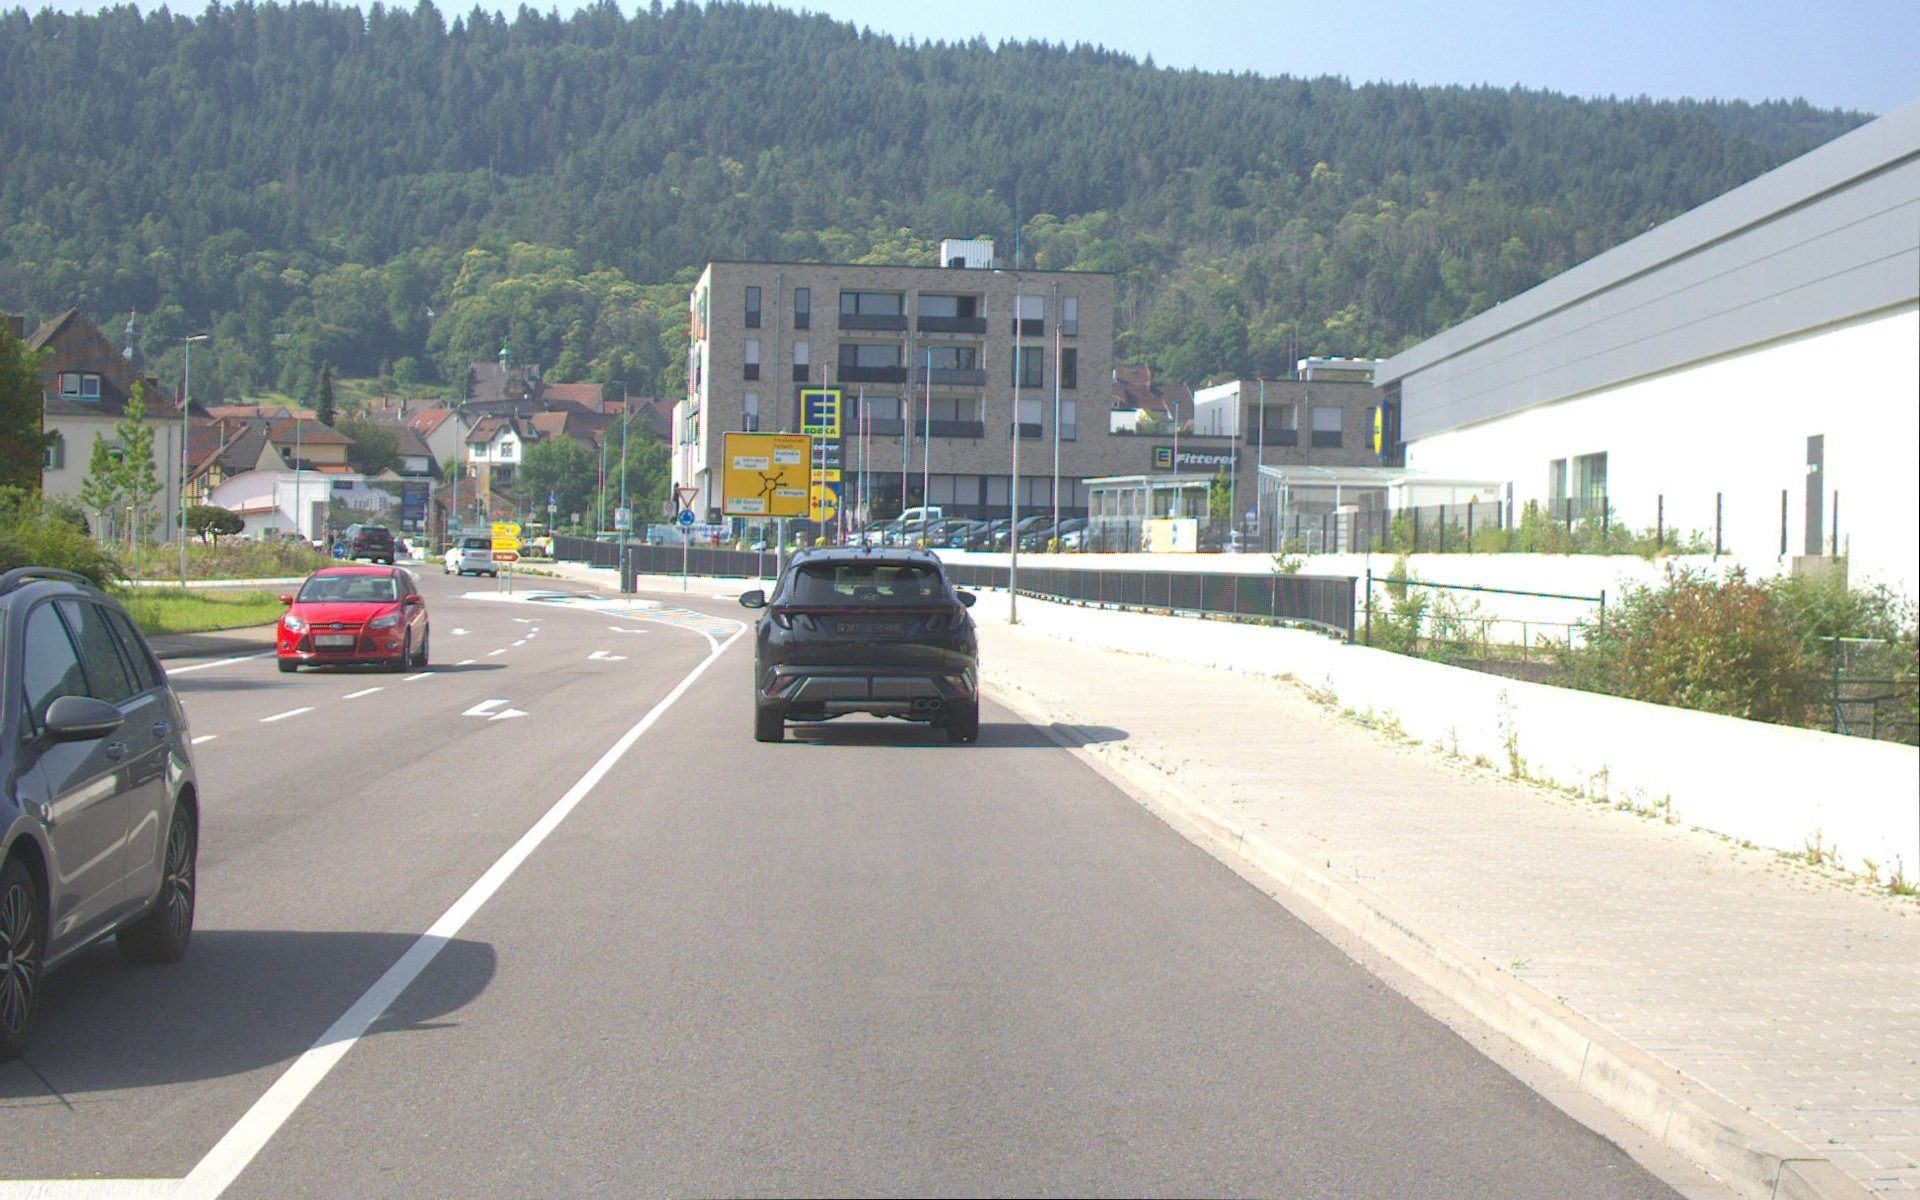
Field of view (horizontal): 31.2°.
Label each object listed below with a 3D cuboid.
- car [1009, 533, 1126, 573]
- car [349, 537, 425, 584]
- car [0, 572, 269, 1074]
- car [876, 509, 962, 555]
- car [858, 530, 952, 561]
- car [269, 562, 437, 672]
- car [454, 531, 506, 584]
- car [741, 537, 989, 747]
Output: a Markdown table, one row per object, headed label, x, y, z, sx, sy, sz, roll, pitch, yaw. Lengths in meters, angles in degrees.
| label | x | y | z | sx | sy | sz | roll | pitch | yaw |
| --- | --- | --- | --- | --- | --- | --- | --- | --- | --- |
| car | 3.991 | -1.745 | 127.968 | 4.060 | 1.399 | 1.486 | 1 | 1 | -21 |
| car | -24.503 | -1.679 | 147.082 | 1.994 | 2.007 | 3.998 | 1 | 0 | 10 |
| car | -3.644 | 0.638 | 11.251 | 1.772 | 1.468 | 4.219 | 0 | 0 | 2 |
| car | -1.912 | -3.189 | 161.401 | 3.987 | 2.128 | 2.000 | 0 | 0 | 1 |
| car | -2.334 | -2.303 | 145.577 | 3.554 | 1.195 | 1.715 | 1 | 1 | -20 |
| car | -8.670 | 0.222 | 49.423 | 1.837 | 1.487 | 4.432 | 0 | 0 | -3 |
| car | -18.883 | -1.661 | 135.188 | 1.993 | 2.007 | 4.001 | 0 | 0 | -8 |
| car | -0.750 | 0.330 | 29.736 | 1.881 | 1.678 | 4.000 | 0 | 0 | 2 |
